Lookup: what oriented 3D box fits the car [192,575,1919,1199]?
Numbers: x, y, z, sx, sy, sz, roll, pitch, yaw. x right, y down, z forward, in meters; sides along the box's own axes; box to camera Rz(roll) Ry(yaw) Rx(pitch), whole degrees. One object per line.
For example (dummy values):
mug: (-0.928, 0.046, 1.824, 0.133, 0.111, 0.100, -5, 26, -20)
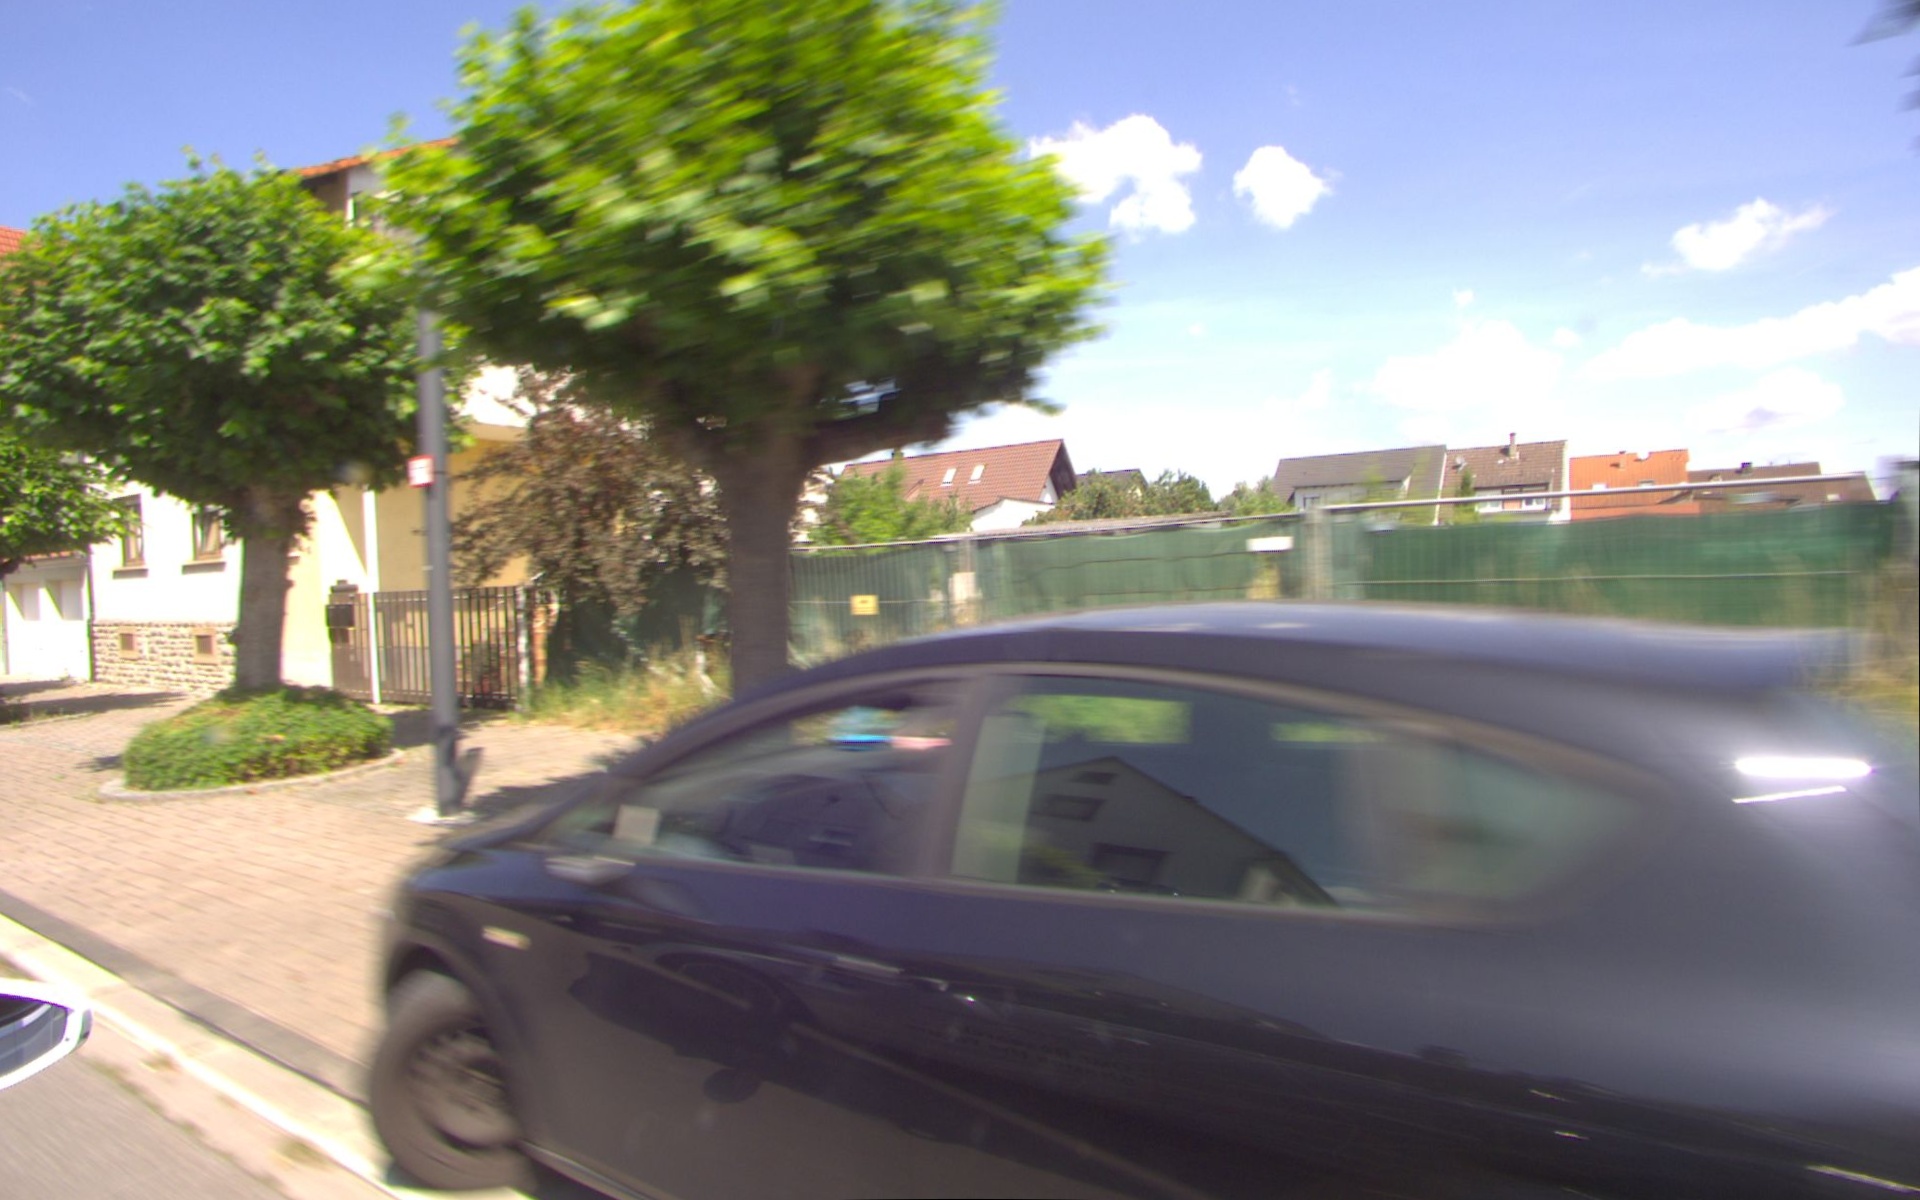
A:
car: (-0.112, 0.732, 2.653, 4.001, 1.452, 1.818, -1, 3, 34)
